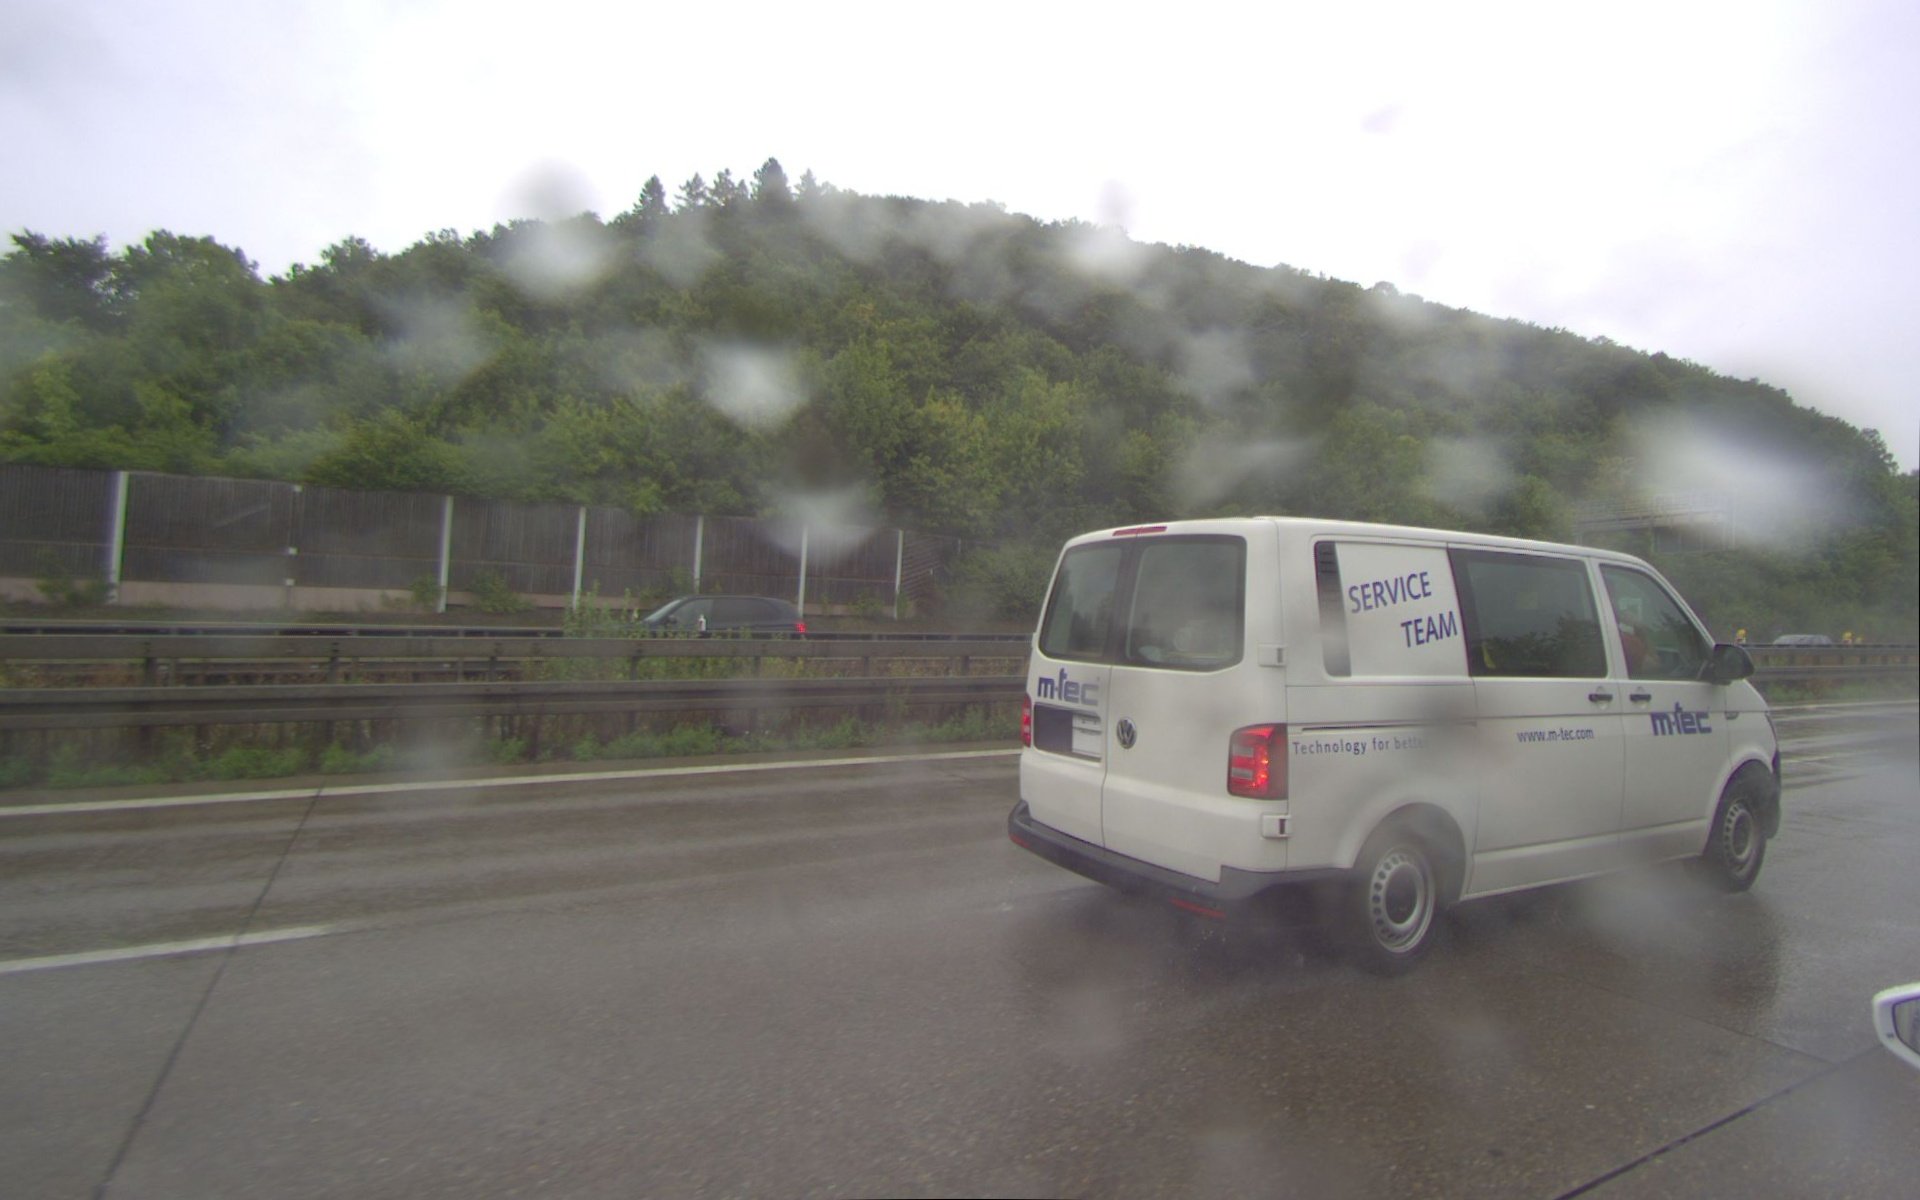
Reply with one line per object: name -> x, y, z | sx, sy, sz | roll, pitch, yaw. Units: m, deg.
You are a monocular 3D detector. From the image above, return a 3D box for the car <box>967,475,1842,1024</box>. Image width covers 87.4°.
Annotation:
car -> 2.665, 0.583, 5.596 | 4.983, 1.919, 1.890 | 2, -1, -30

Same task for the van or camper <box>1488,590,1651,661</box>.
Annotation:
van or camper -> 25.650, 1.091, 42.171 | 7.409, 2.754, 2.545 | 2, -1, -30

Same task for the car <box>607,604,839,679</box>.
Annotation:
car -> -4.805, 0.825, 20.543 | 4.294, 1.321, 1.743 | 2, 1, -31

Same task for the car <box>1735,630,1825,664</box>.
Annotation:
car -> 36.405, 2.077, 44.578 | 4.294, 1.321, 1.743 | 2, 1, -31
